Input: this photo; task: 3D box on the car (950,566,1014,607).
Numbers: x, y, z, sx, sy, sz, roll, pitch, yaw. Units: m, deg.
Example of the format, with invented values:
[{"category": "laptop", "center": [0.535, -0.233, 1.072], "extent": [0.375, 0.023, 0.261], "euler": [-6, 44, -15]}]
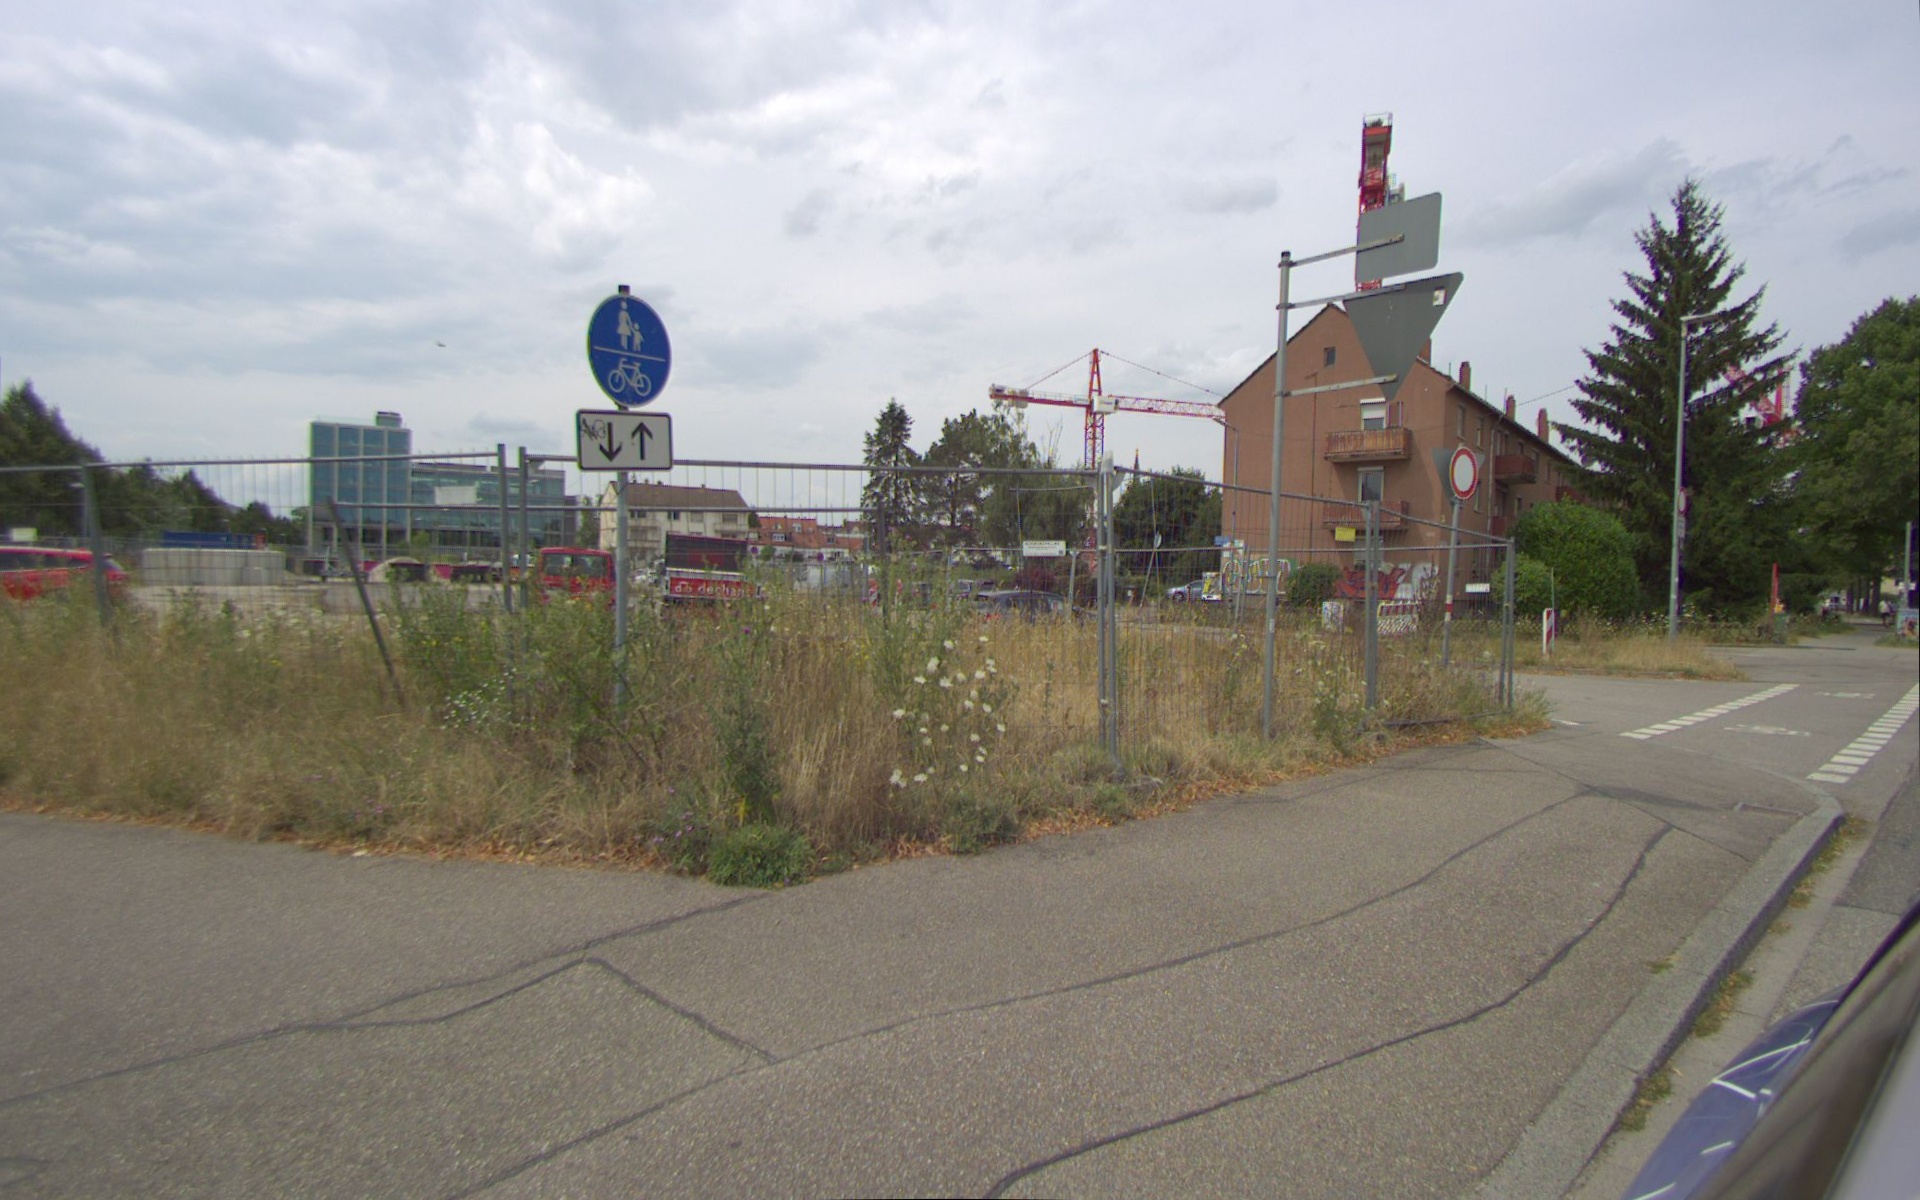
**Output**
[{"category": "car", "center": [1.018, -0.704, 48.900], "extent": [1.764, 1.871, 4.009], "euler": [1, 1, -19]}]

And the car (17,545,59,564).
[{"category": "car", "center": [-85.425, -4.198, 93.803], "extent": [1.960, 1.638, 4.757], "euler": [0, 2, -31]}]

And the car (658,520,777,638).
[{"category": "car", "center": [-6.033, -0.532, 24.502], "extent": [2.269, 2.442, 6.558], "euler": [1, 1, -18]}]

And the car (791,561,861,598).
[{"category": "car", "center": [-8.264, -1.274, 62.192], "extent": [2.108, 2.162, 4.909], "euler": [0, 2, -37]}]

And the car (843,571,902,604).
[{"category": "car", "center": [-5.024, -0.746, 57.528], "extent": [1.820, 1.770, 4.019], "euler": [1, 2, -29]}]

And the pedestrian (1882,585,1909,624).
[{"category": "pedestrian", "center": [50.455, 0.230, 54.585], "extent": [0.848, 2.039, 0.724], "euler": [2, 1, 29]}]

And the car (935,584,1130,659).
[{"category": "car", "center": [1.654, 0.421, 22.483], "extent": [4.180, 1.492, 1.767], "euler": [0, 2, -37]}]

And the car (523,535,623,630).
[{"category": "car", "center": [-9.130, -0.428, 24.128], "extent": [1.896, 1.934, 5.000], "euler": [3, 0, -19]}]

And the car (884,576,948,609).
[{"category": "car", "center": [-2.330, -0.431, 53.189], "extent": [1.765, 1.622, 4.020], "euler": [1, 2, -28]}]

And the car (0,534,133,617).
[{"category": "car", "center": [-19.863, -0.514, 20.252], "extent": [5.043, 1.624, 1.789], "euler": [0, 2, -37]}]
